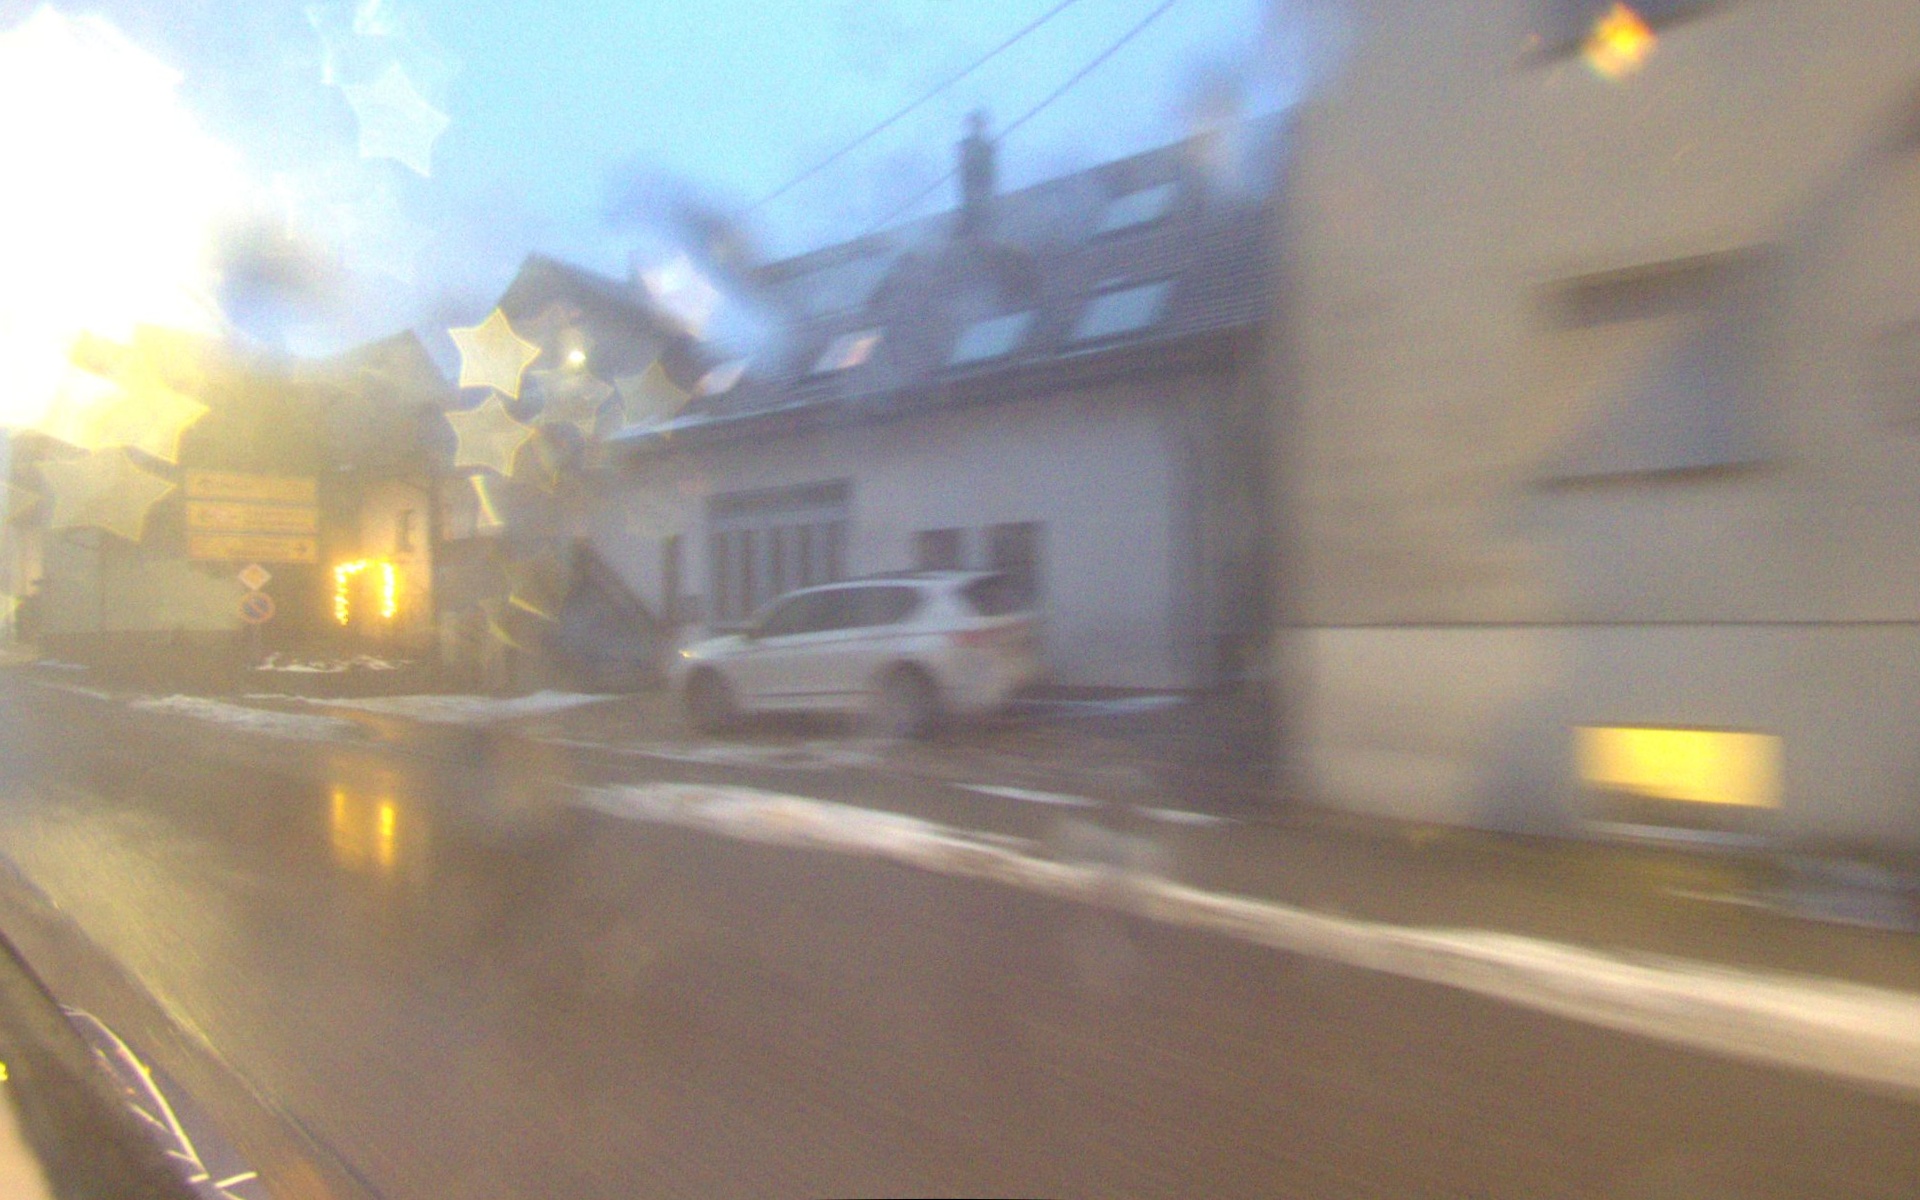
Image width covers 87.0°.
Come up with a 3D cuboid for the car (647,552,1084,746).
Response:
[{"bbox_3d":[-1.138,0.512,11.281,4.622,1.749,1.752,-3,3,31],"label":"car"}]
